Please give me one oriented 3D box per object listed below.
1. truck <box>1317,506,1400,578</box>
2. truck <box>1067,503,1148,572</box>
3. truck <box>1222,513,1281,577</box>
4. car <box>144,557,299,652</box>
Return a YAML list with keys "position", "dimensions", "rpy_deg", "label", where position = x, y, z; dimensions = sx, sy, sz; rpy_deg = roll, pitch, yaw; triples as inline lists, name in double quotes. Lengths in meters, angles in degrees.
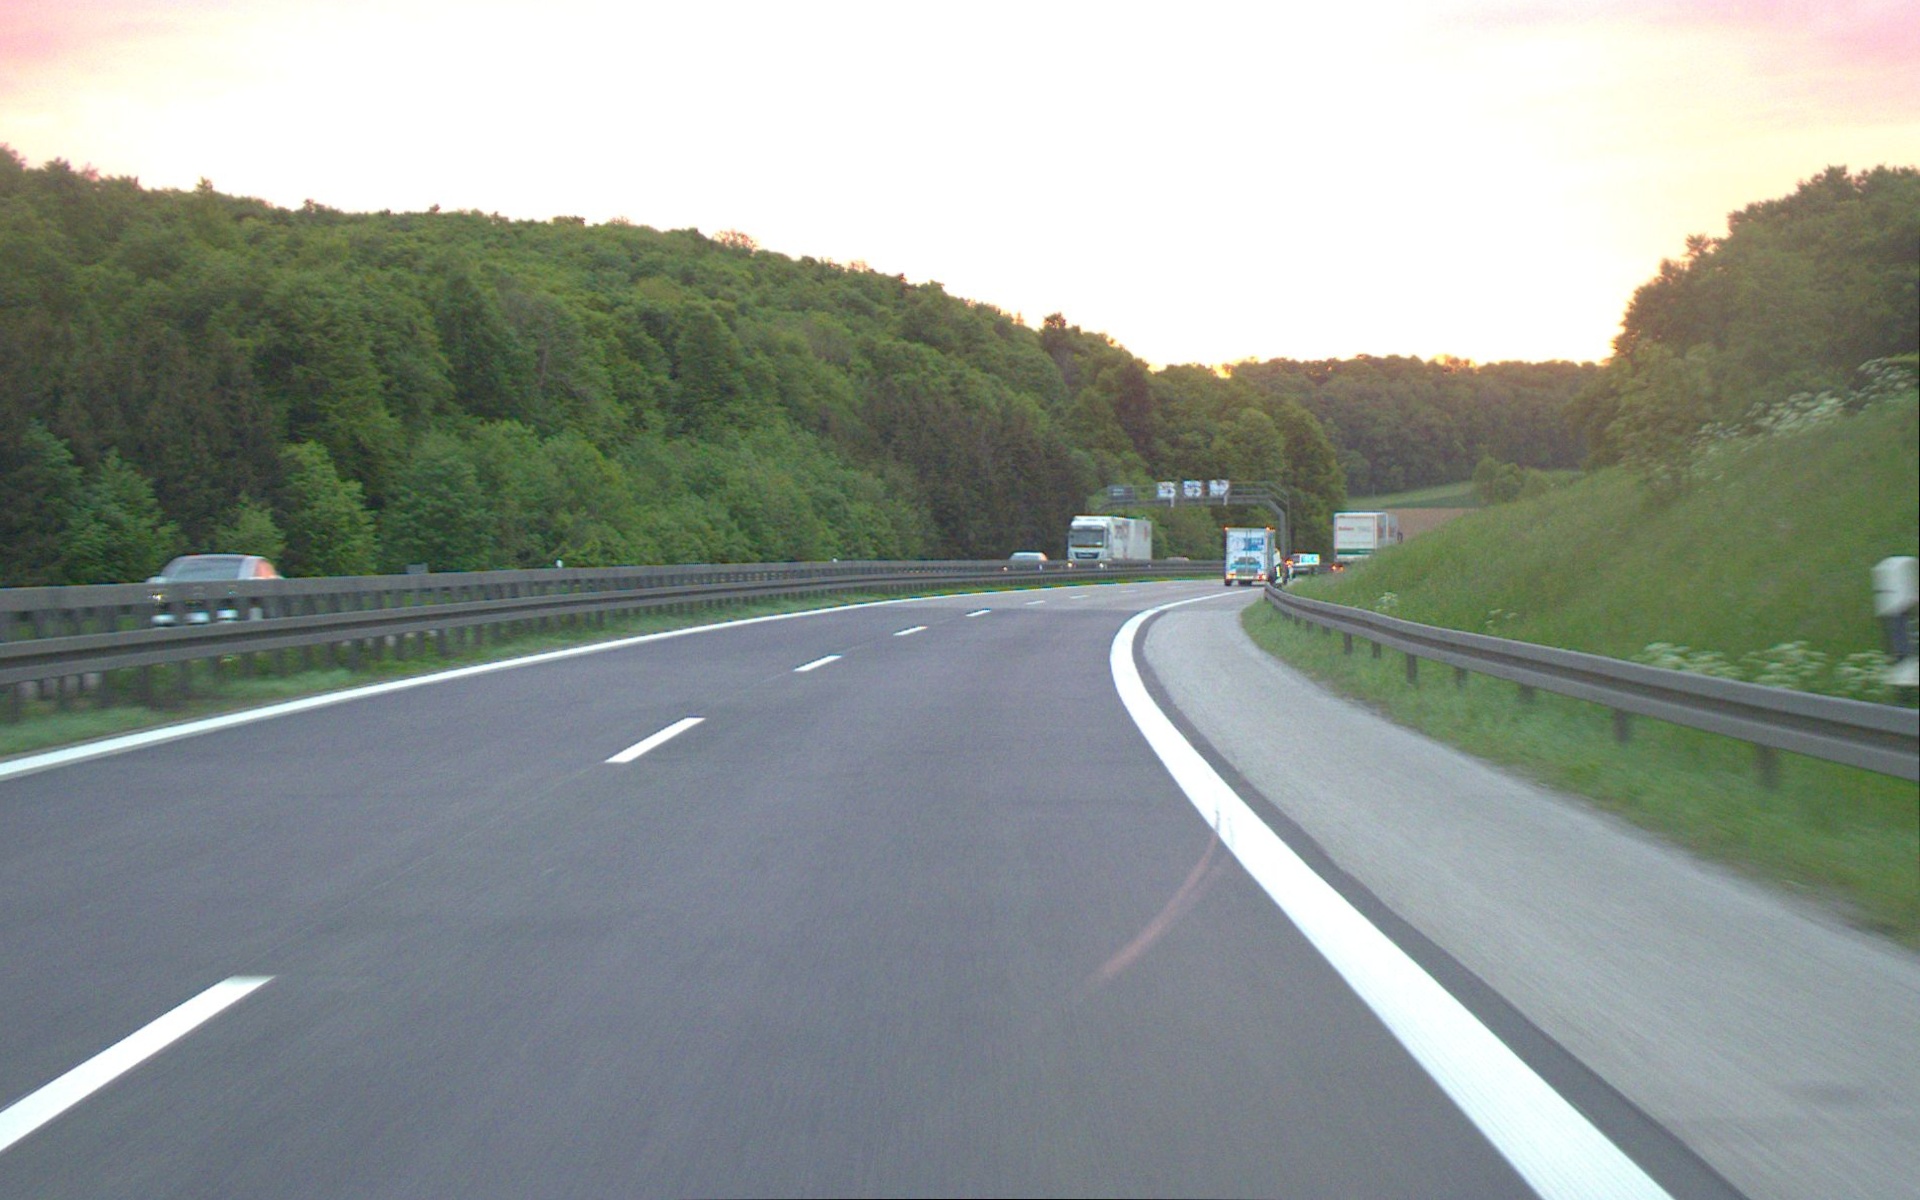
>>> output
- position: [24.917, -3.676, 214.299]
  dimensions: [3.960, 4.272, 14.317]
  rpy_deg: [-1, 1, 11]
  label: "truck"
- position: [9.425, -3.979, 218.534]
  dimensions: [2.867, 4.266, 10.058]
  rpy_deg: [0, 1, 16]
  label: "truck"
- position: [13.297, -2.526, 156.793]
  dimensions: [2.276, 2.655, 5.235]
  rpy_deg: [-2, 2, 8]
  label: "truck"
- position: [-13.728, 0.053, 64.122]
  dimensions: [1.753, 1.634, 4.478]
  rpy_deg: [-1, 1, 2]
  label: "car"
